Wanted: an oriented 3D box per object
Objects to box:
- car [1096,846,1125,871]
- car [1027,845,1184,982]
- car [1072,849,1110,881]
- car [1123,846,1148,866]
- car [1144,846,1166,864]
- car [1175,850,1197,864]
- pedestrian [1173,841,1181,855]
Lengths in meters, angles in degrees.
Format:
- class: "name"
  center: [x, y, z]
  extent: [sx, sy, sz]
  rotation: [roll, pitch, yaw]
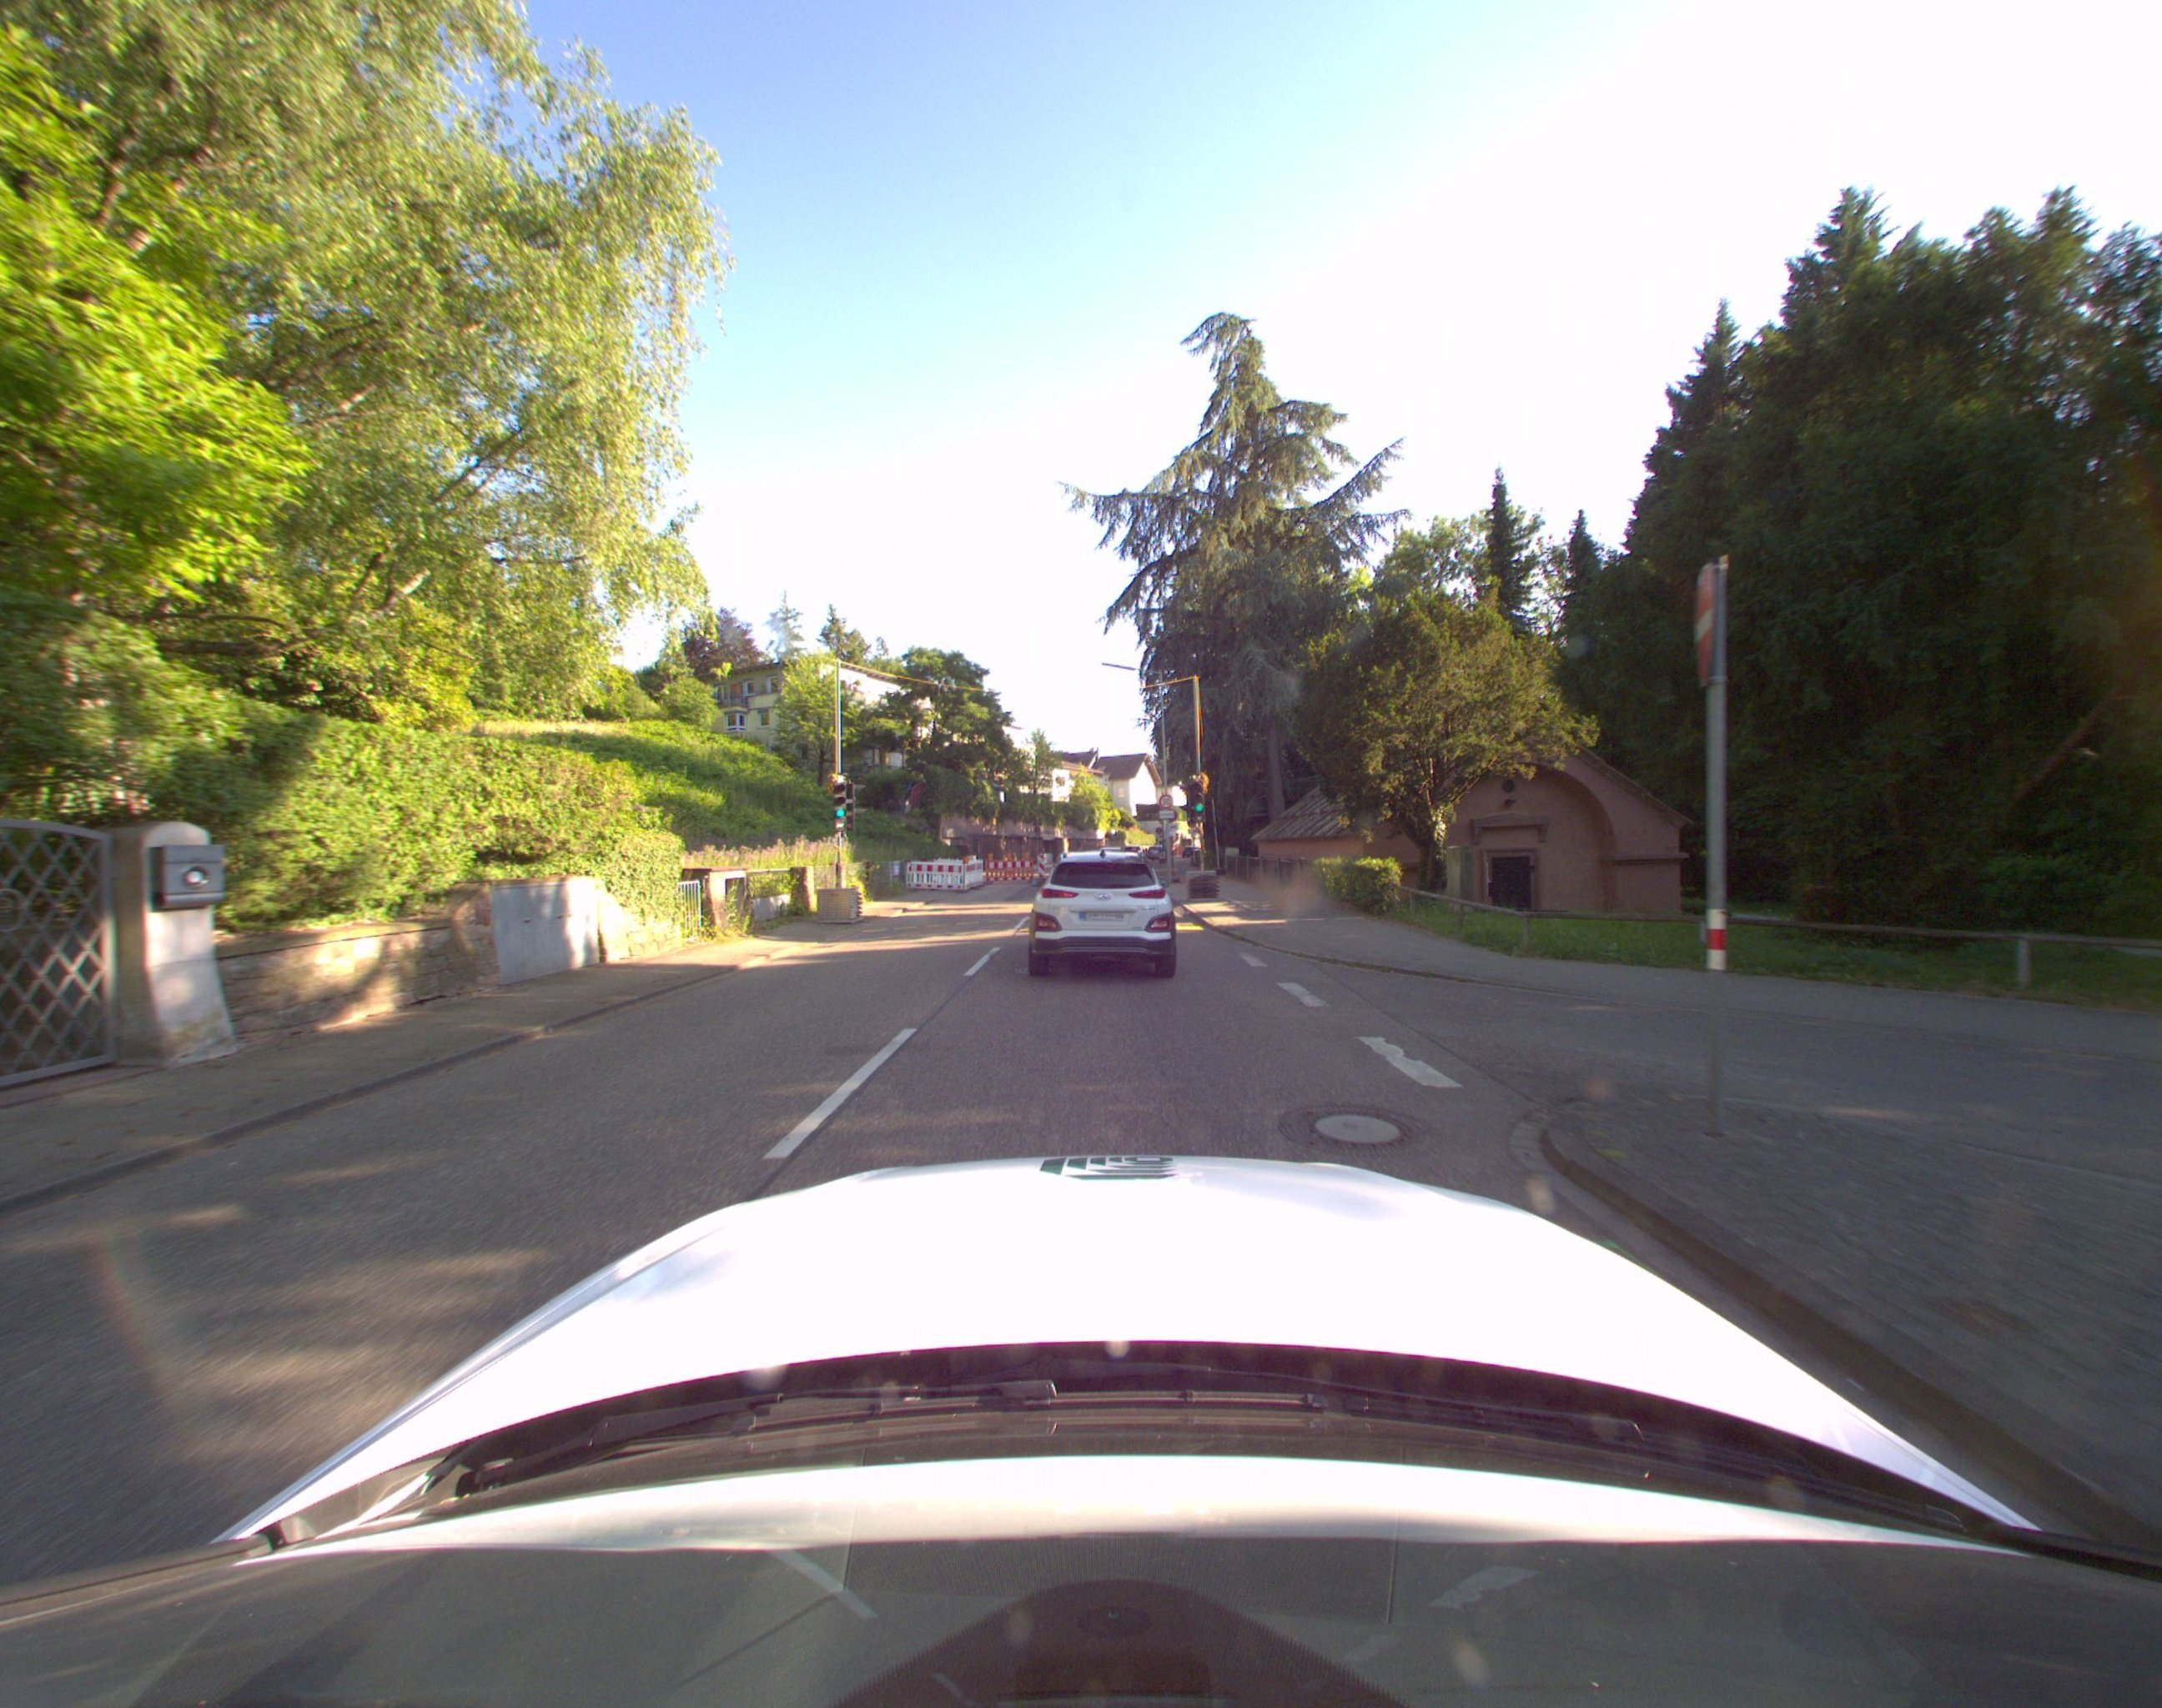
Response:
- class: "car"
  center: [1.878, 0.243, 52.302]
  extent: [1.799, 1.537, 4.002]
  rotation: [1, 1, 2]
- class: "car"
  center: [0.183, 0.674, 11.419]
  extent: [1.816, 1.574, 3.996]
  rotation: [0, 1, -3]
- class: "car"
  center: [0.480, 0.492, 39.040]
  extent: [1.702, 1.434, 4.366]
  rotation: [1, 1, 1]
- class: "car"
  center: [4.735, 0.139, 70.169]
  extent: [1.821, 1.662, 4.009]
  rotation: [1, 1, 8]
- class: "car"
  center: [7.663, 0.120, 84.094]
  extent: [1.819, 1.740, 4.014]
  rotation: [-1, 0, 12]
- class: "car"
  center: [12.924, 0.391, 100.272]
  extent: [1.816, 1.662, 4.020]
  rotation: [0, 0, 20]
- class: "pedestrian"
  center: [13.382, -0.820, 113.447]
  extent: [1.071, 1.912, 0.844]
  rotation: [0, 0, 18]
